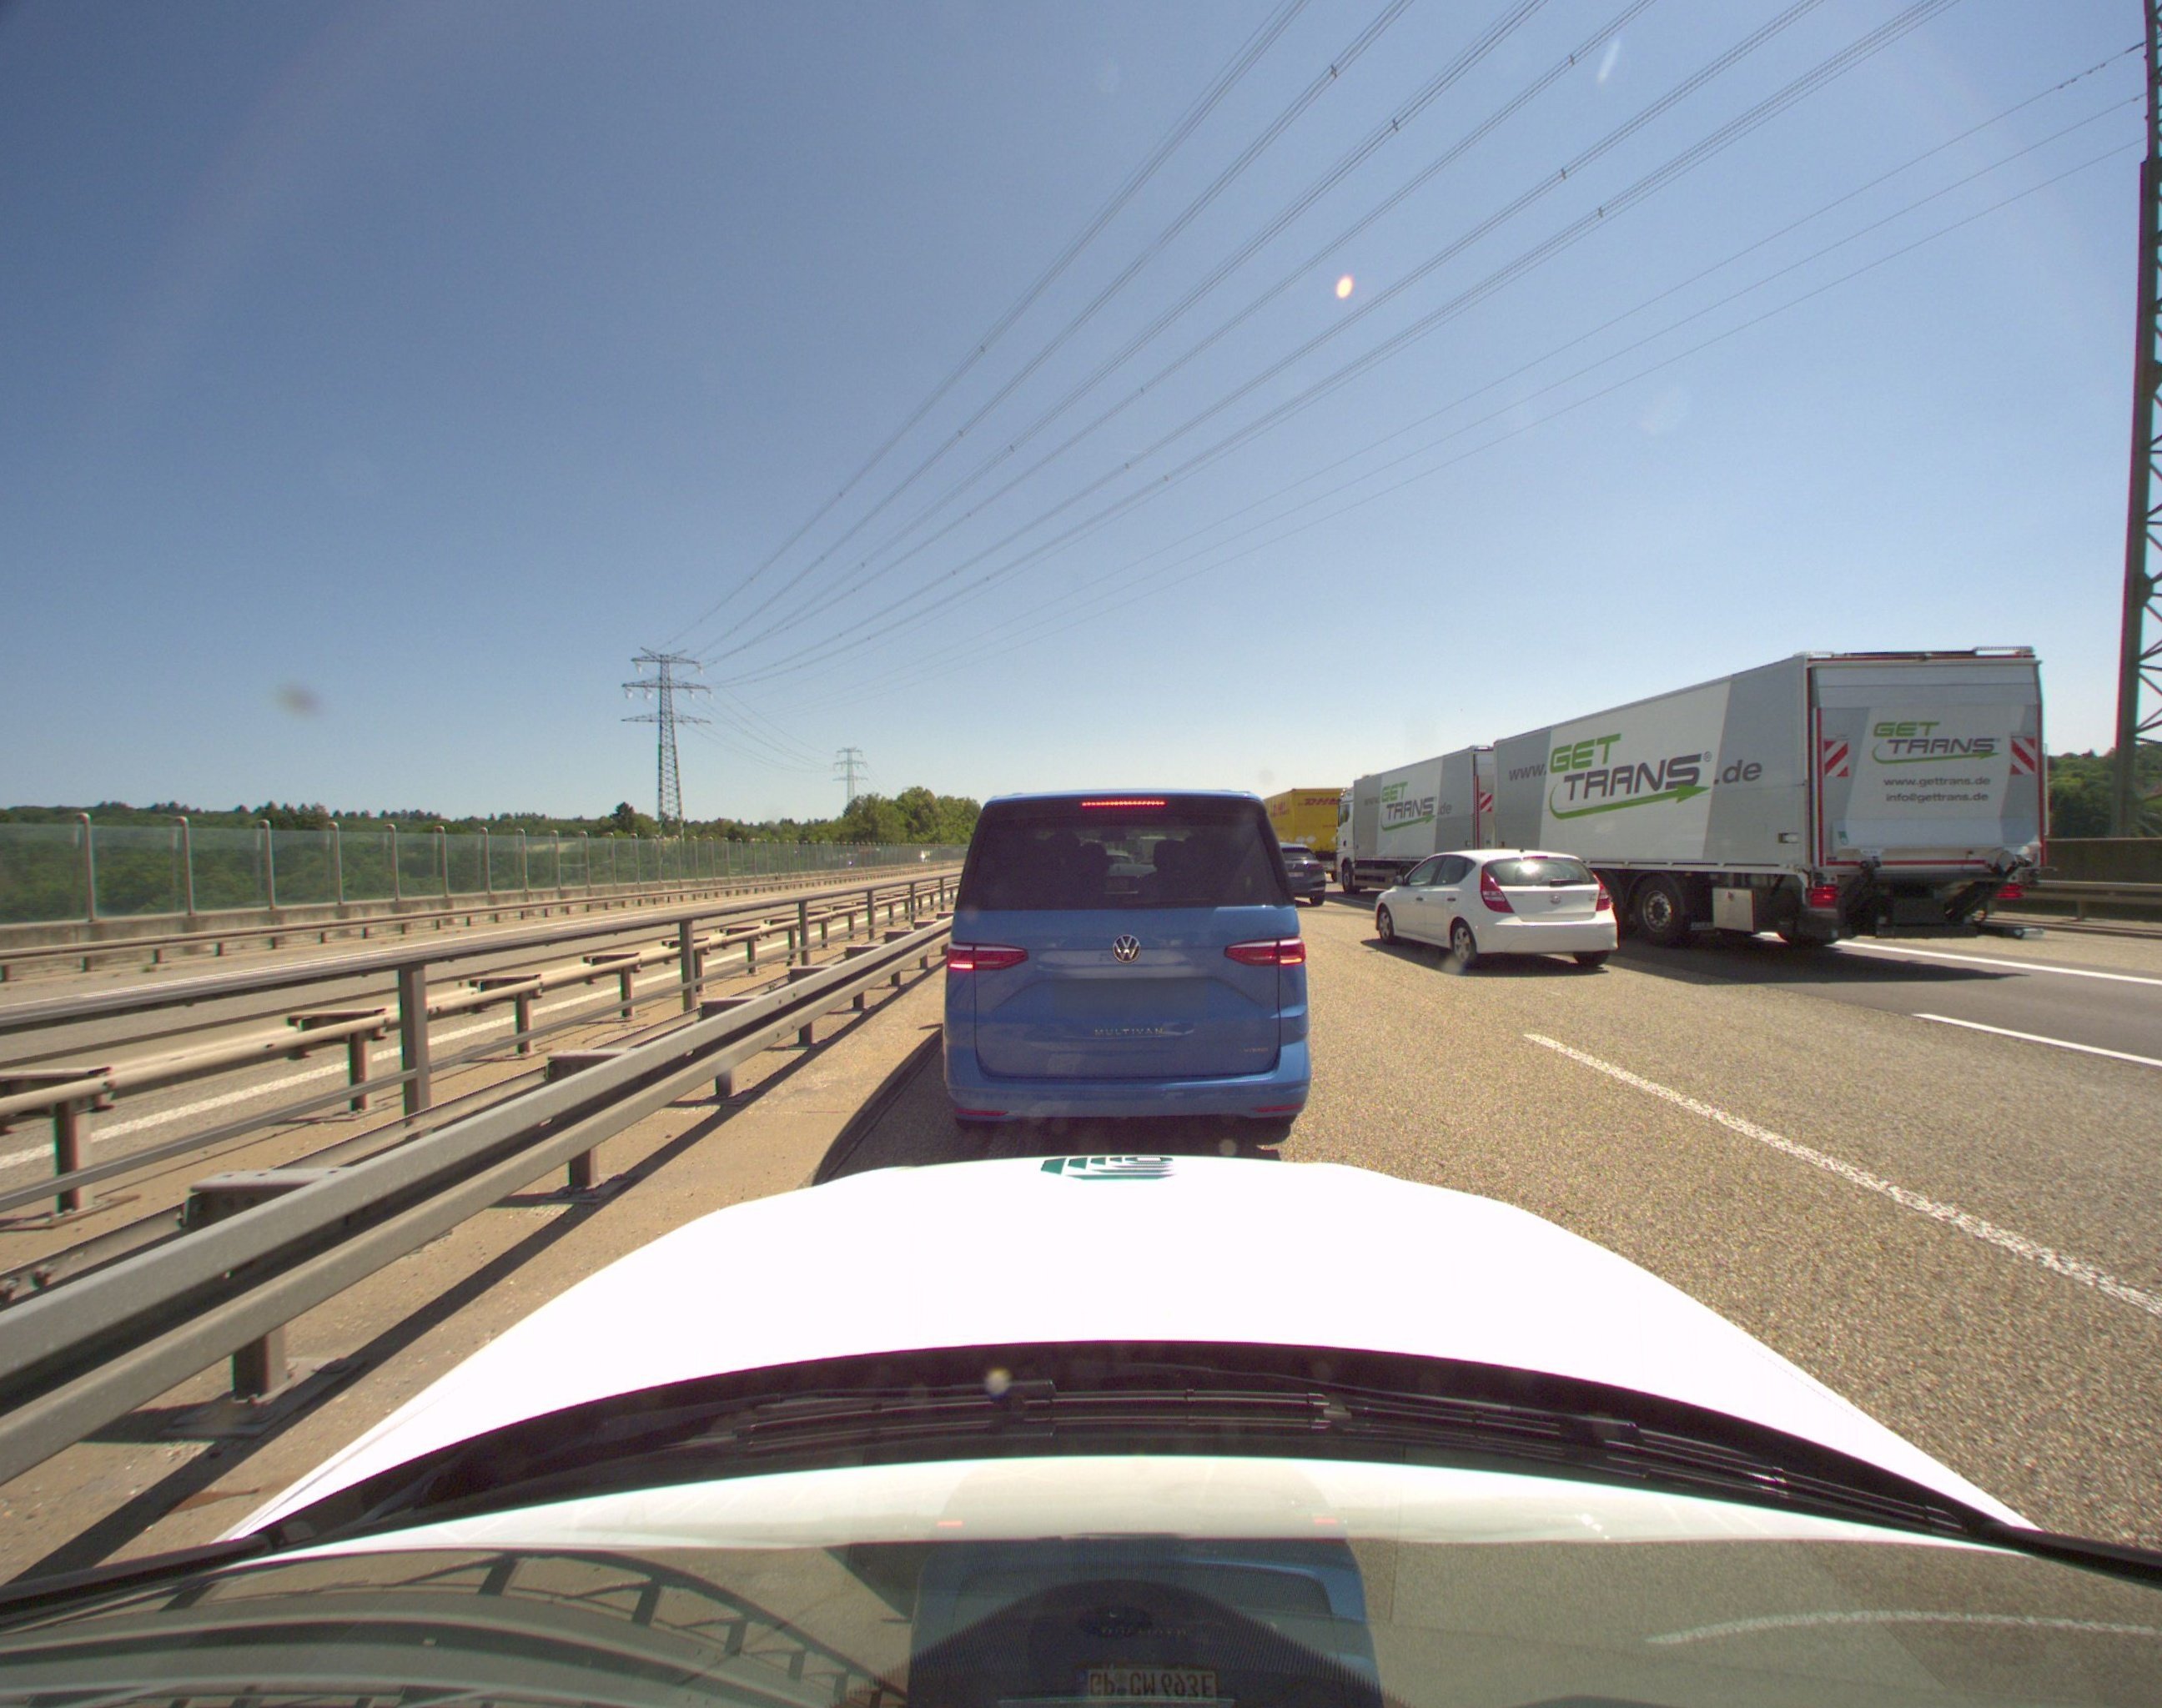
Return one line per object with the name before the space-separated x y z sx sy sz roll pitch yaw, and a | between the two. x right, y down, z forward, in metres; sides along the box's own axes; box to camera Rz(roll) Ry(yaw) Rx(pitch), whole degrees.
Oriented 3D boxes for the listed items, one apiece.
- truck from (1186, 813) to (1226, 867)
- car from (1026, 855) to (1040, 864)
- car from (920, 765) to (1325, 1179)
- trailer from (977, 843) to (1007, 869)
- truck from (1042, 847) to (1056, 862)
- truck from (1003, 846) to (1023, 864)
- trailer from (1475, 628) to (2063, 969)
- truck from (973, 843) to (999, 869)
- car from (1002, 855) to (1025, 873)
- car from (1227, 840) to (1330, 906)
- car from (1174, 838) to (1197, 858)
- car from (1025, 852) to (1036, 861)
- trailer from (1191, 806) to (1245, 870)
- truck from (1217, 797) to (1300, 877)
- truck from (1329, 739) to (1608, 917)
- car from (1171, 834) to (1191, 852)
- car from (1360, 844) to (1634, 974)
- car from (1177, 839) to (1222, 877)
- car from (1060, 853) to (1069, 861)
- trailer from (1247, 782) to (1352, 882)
truck | 10.775 -1.162 70.805 2.657 4.484 6.853 -1 0 2
car | -8.255 0.945 139.958 1.856 1.444 4.132 -4 0 2
car | 0.253 0.542 5.718 1.813 1.857 4.076 -1 0 2
trailer | -12.770 0.270 117.733 2.472 3.344 12.077 -4 0 2
truck | -7.486 0.052 191.454 2.553 3.359 8.863 -3 0 0
truck | -12.516 0.207 150.884 2.510 3.110 8.724 -5 0 1
trailer | 9.531 -0.620 12.998 2.688 3.700 8.017 -1 0 1
truck | -12.968 0.283 111.003 2.488 3.365 5.836 -4 0 2
car | -6.105 0.891 73.776 1.613 1.464 3.703 -3 0 2
car | 5.419 0.478 22.895 1.954 1.644 4.295 -1 0 2
car | 10.811 -0.618 84.250 1.986 2.014 4.002 -1 0 2
car | -12.336 0.612 199.093 2.074 2.149 4.314 -3 0 2
trailer | 10.553 -1.162 63.752 2.627 4.516 11.305 -1 0 2
truck | 10.444 -0.894 49.163 2.826 4.243 11.013 -1 0 1
truck | 9.769 -0.557 22.531 2.647 3.648 11.013 -1 0 1
car | 12.016 -1.321 98.352 1.986 2.013 4.463 -2 0 2
car | 5.555 0.635 11.586 1.782 1.455 4.295 -1 0 2
car | 6.595 0.190 45.674 1.954 1.993 4.295 -1 0 2
car | -4.298 0.898 209.579 1.986 2.014 4.314 -1 0 2
trailer | 10.194 -0.924 39.146 2.854 4.239 9.015 -1 0 2
